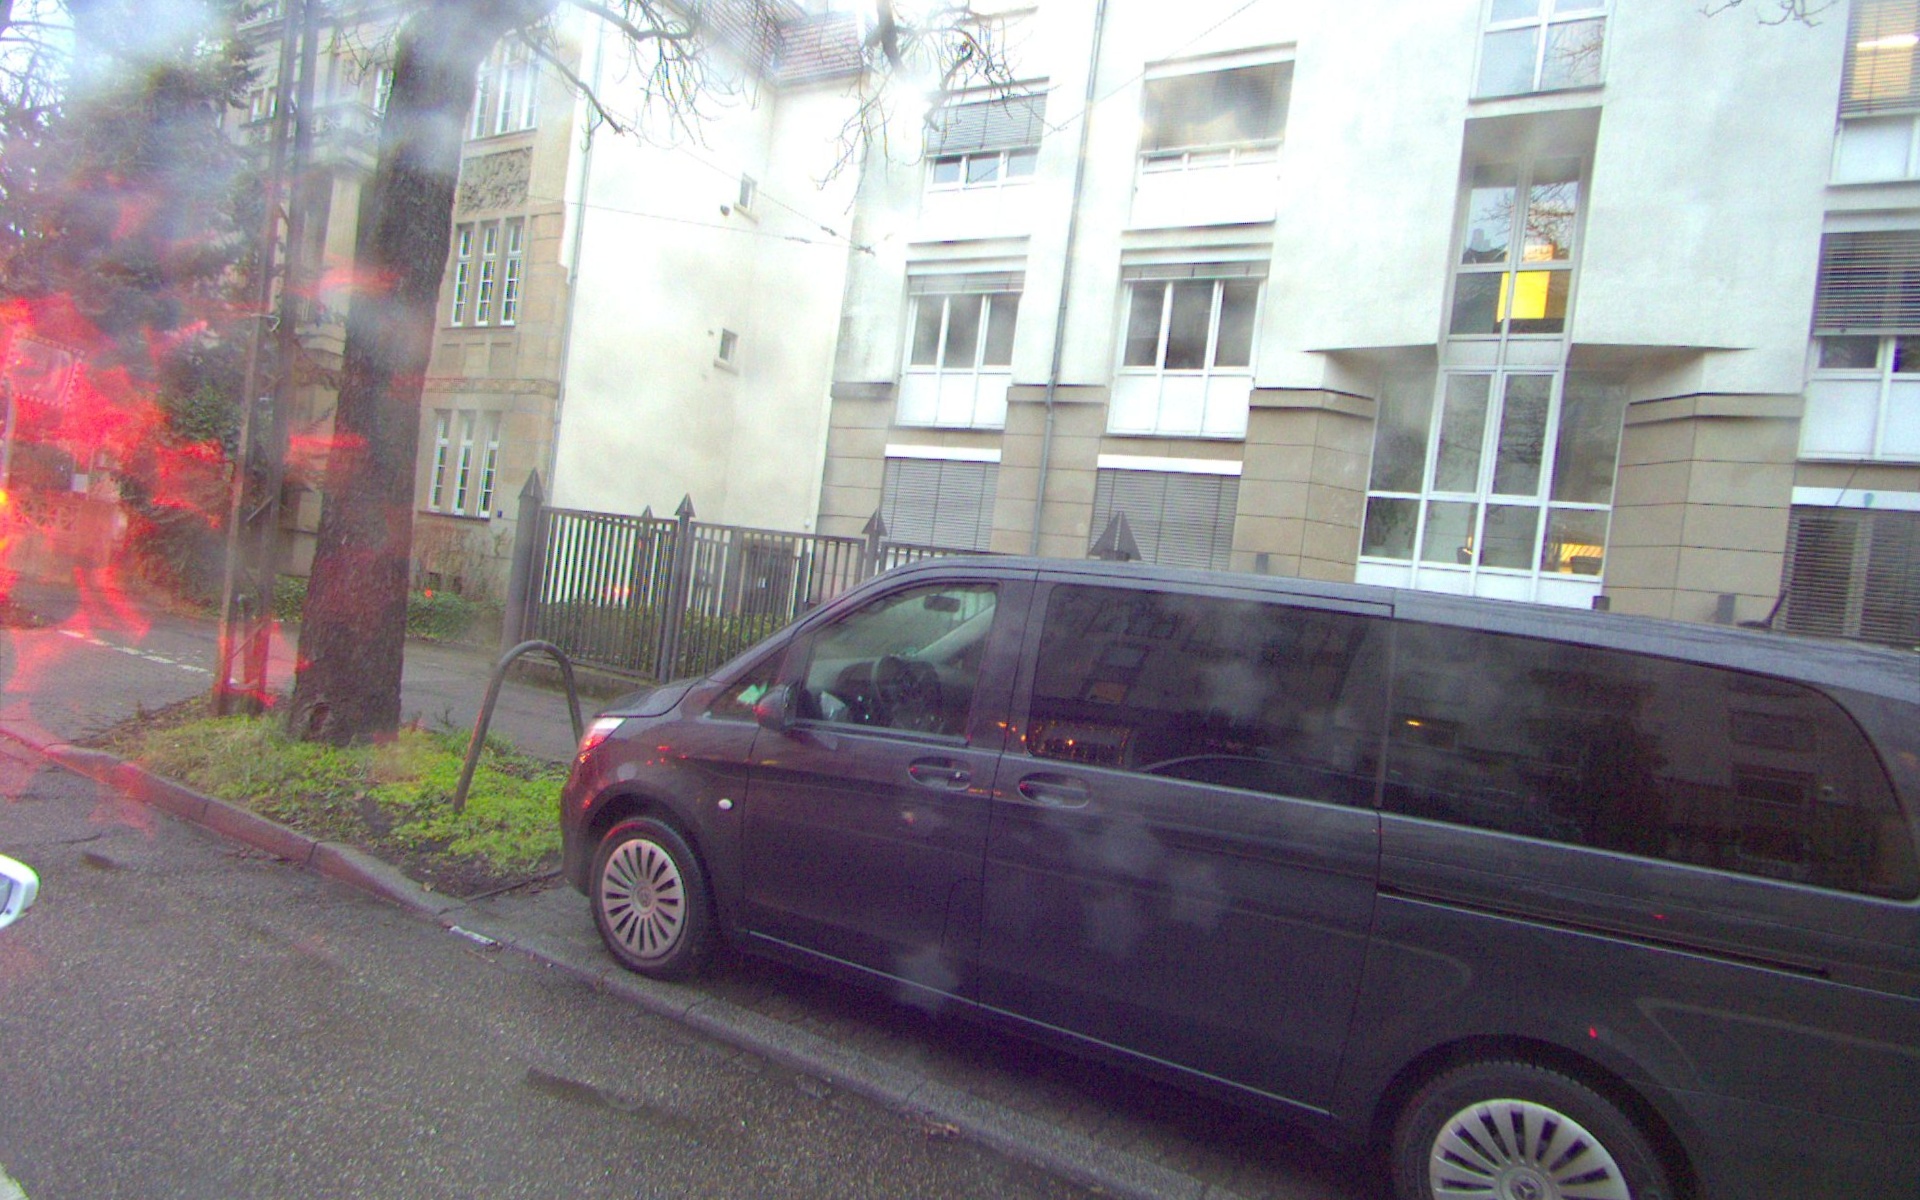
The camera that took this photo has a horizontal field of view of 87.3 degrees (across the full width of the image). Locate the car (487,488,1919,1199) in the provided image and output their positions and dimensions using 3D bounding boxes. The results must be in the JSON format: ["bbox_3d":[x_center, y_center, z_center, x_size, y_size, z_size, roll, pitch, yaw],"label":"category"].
[{"bbox_3d":[0.692,0.802,4.043,4.877,1.899,2.035,7,0,28],"label":"car"}]
